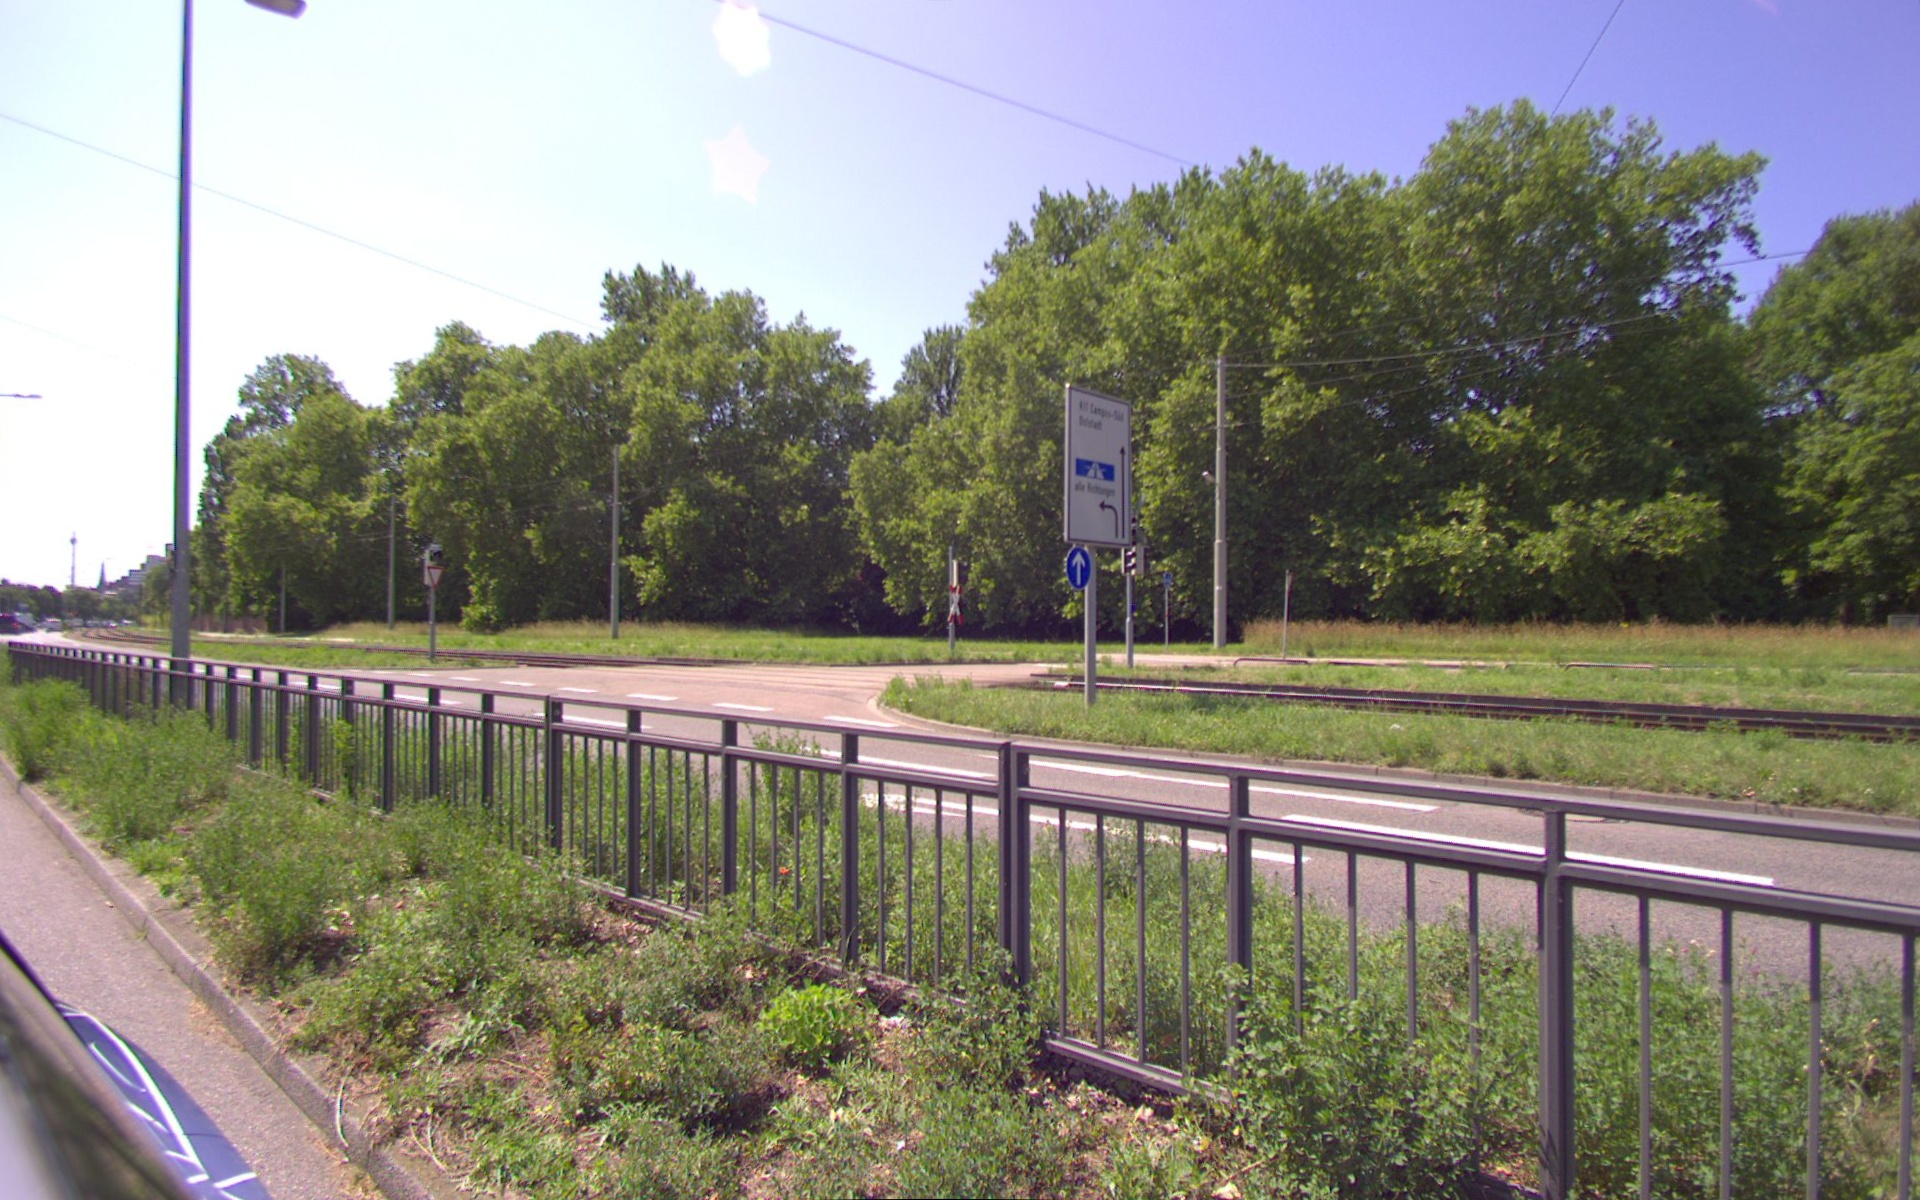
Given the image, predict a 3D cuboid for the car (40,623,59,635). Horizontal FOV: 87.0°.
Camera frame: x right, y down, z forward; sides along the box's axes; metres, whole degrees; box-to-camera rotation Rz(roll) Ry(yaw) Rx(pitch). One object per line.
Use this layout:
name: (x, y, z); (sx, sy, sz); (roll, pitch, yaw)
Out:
car: (-136.607, 4.329, 151.879); (1.970, 1.871, 4.003); (1, -2, -44)

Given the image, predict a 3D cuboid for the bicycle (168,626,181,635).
bicycle: (-99.325, 3.873, 127.963); (2.785, 1.171, 0.851); (-1, -2, 41)

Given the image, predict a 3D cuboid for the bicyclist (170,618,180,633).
bicyclist: (-99.271, 3.239, 127.961); (1.117, 1.820, 0.851); (-1, -2, 41)

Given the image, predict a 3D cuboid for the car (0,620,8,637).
car: (-107.939, 3.171, 113.305); (1.970, 1.871, 4.004); (1, -2, -43)

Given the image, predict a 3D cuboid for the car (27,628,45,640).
car: (-146.417, 5.362, 160.378); (1.970, 1.871, 4.003); (1, -2, -44)
